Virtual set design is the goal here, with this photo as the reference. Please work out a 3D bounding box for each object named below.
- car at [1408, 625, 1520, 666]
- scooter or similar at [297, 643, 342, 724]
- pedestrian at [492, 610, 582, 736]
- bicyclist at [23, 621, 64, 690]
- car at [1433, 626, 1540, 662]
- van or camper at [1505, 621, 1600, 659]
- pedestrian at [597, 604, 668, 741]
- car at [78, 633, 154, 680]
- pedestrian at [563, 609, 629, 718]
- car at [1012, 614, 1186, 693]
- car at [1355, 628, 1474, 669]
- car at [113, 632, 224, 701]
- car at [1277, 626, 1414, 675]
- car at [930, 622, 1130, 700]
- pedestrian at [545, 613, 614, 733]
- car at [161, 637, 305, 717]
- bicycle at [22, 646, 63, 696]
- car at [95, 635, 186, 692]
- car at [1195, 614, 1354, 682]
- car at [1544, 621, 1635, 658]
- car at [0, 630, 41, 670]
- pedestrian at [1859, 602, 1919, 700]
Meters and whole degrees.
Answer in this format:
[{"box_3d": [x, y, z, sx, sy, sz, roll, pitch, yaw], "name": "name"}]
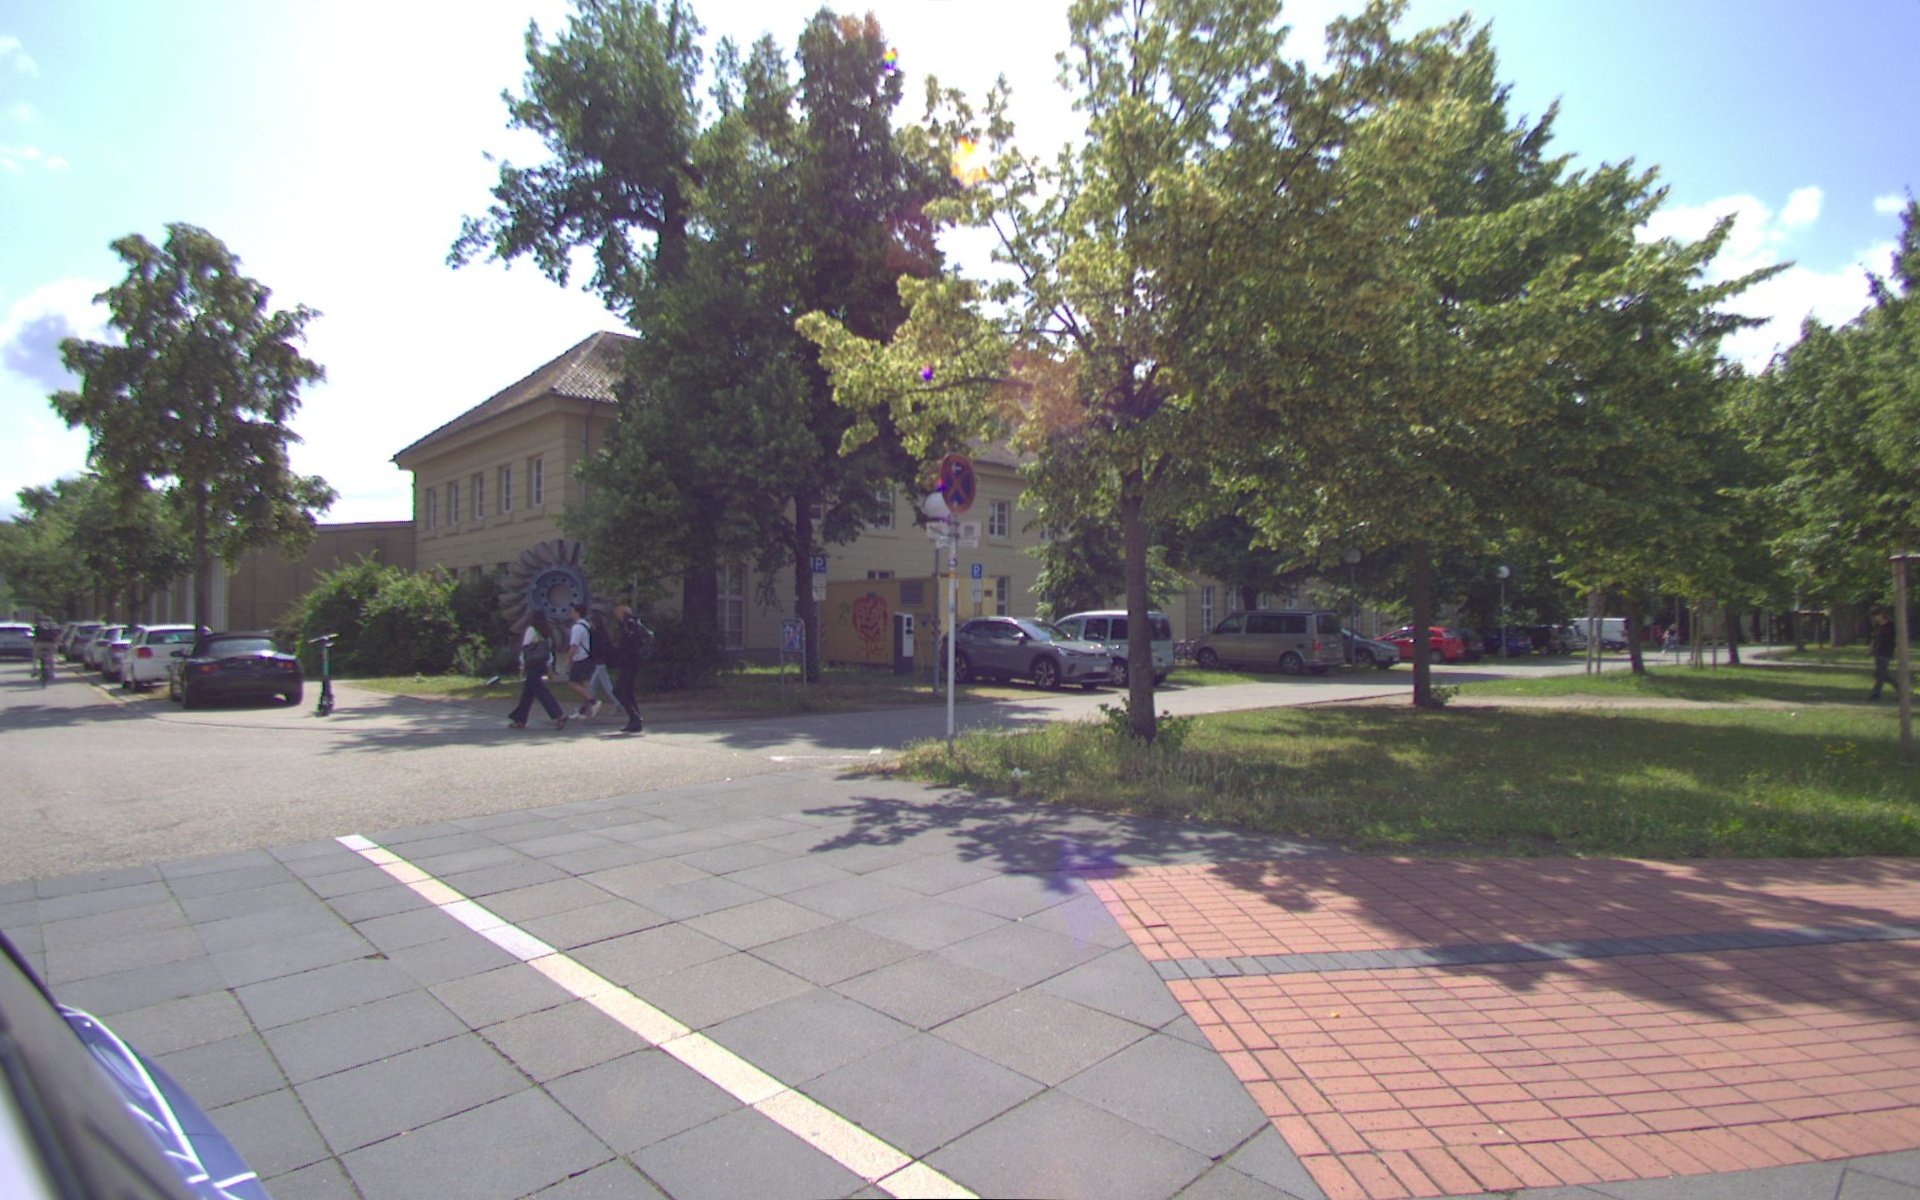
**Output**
[{"box_3d": [22.378, 1.993, 45.042, 1.786, 1.679, 4.128, 2, -2, -44], "name": "car"}, {"box_3d": [-10.200, 1.307, 16.110, 0.463, 1.225, 1.207, 2, -3, -38], "name": "scooter or similar"}, {"box_3d": [-5.921, 1.016, 14.202, 0.991, 1.729, 0.622, 0, -3, -1], "name": "pedestrian"}, {"box_3d": [-22.292, 1.336, 24.612, 1.329, 1.618, 0.621, -2, -3, 45], "name": "bicyclist"}, {"box_3d": [24.794, 2.030, 47.721, 1.786, 1.553, 4.128, 2, -2, -44], "name": "car"}, {"box_3d": [31.543, 2.084, 53.946, 1.786, 1.900, 4.086, 2, -2, -44], "name": "van or camper"}, {"box_3d": [-4.430, 0.964, 13.689, 0.858, 1.800, 0.571, 1, -3, -21], "name": "pedestrian"}, {"box_3d": [-27.717, 1.810, 33.211, 1.693, 1.444, 4.004, 2, -2, -43], "name": "car"}, {"box_3d": [-5.913, 1.024, 16.481, 0.956, 1.729, 0.559, 0, -2, -14], "name": "pedestrian"}, {"box_3d": [3.451, 1.280, 25.624, 1.786, 1.799, 4.128, 2, -2, -44], "name": "car"}, {"box_3d": [18.772, 1.970, 41.889, 1.784, 1.553, 4.131, 2, -1, -41], "name": "car"}, {"box_3d": [-18.063, 1.449, 23.045, 1.611, 1.442, 3.636, 2, -2, -44], "name": "car"}, {"box_3d": [13.454, 1.723, 35.501, 1.786, 1.553, 4.128, 2, -2, -44], "name": "car"}, {"box_3d": [1.565, 1.356, 23.962, 1.872, 1.593, 4.653, 2, -2, -44], "name": "car"}, {"box_3d": [-5.849, 1.102, 15.595, 0.885, 1.800, 0.728, 0, -2, -12], "name": "pedestrian"}, {"box_3d": [-13.419, 1.330, 18.602, 1.676, 1.305, 3.766, 2, -3, -43], "name": "car"}, {"box_3d": [-22.222, 1.703, 24.503, 1.813, 1.150, 0.617, -2, -3, 45], "name": "bicycle"}, {"box_3d": [-22.124, 1.657, 27.267, 1.624, 1.387, 4.004, 2, -2, -43], "name": "car"}, {"box_3d": [9.843, 1.448, 31.940, 1.784, 1.974, 4.534, 2, -1, -40], "name": "car"}, {"box_3d": [36.281, 2.245, 58.379, 1.786, 1.958, 4.128, 2, -2, -44], "name": "car"}, {"box_3d": [-40.372, 2.089, 42.996, 1.904, 1.646, 4.377, 2, -2, -43], "name": "car"}, {"box_3d": [17.576, 0.946, 18.953, 0.860, 1.800, 0.636, 0, -3, -4], "name": "pedestrian"}]
